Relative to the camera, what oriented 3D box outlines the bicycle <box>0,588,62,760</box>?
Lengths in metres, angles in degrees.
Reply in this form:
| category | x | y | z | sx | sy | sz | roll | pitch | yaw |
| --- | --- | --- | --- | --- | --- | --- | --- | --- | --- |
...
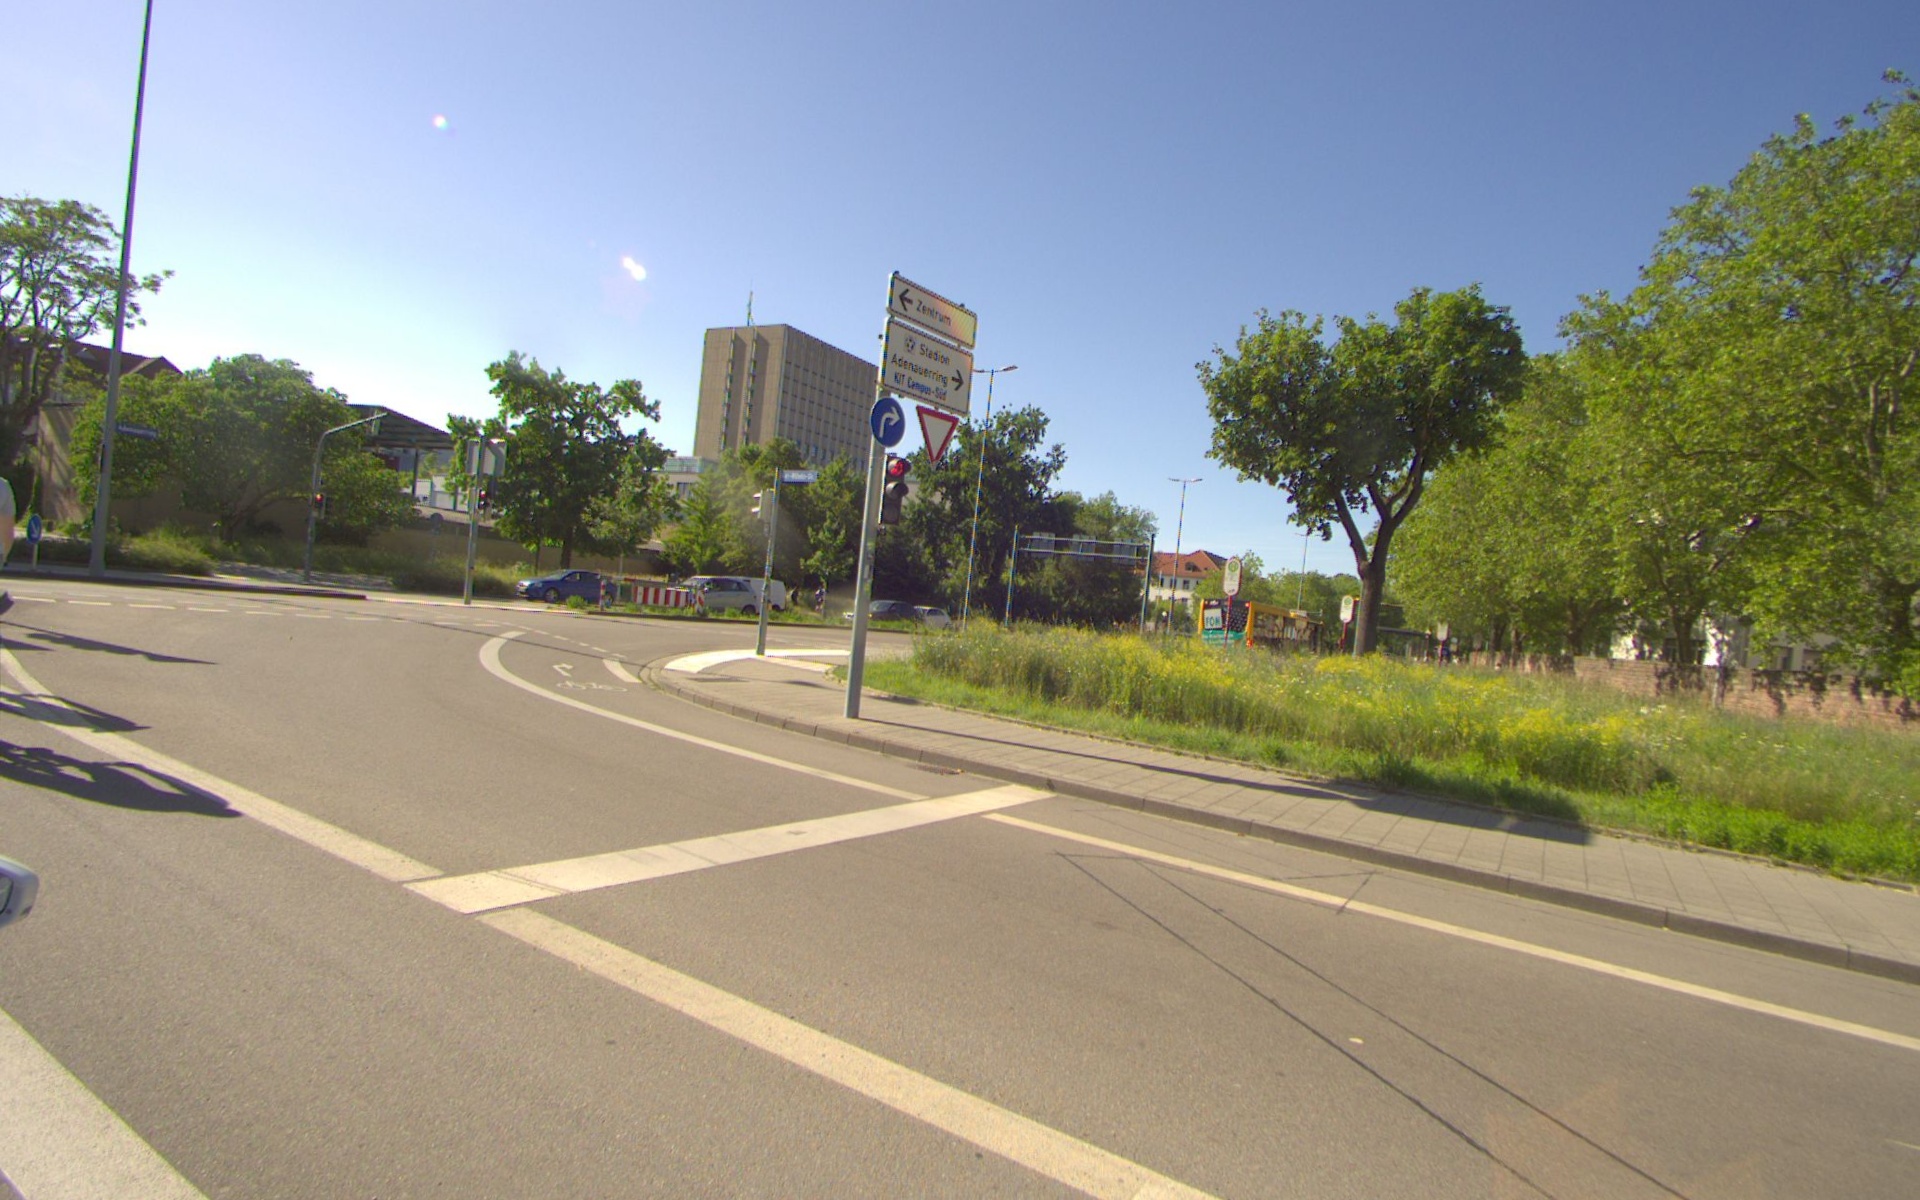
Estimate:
| category | x | y | z | sx | sy | sz | roll | pitch | yaw |
| --- | --- | --- | --- | --- | --- | --- | --- | --- | --- |
| bicycle | -6.301 | 0.355 | 6.089 | 1.946 | 0.906 | 0.741 | 6 | -2 | 33 |

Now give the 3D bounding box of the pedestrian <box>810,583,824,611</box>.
| category | x | y | z | sx | sy | sz | roll | pitch | yaw |
| --- | --- | --- | --- | --- | --- | --- | --- | --- | --- |
| pedestrian | -9.142 | -0.161 | 64.332 | 0.519 | 1.716 | 0.561 | 7 | 1 | 35 |

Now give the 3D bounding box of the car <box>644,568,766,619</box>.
| category | x | y | z | sx | sy | sz | roll | pitch | yaw |
| --- | --- | --- | --- | --- | --- | --- | --- | --- | --- |
| car | -9.436 | -0.213 | 37.428 | 1.840 | 1.426 | 4.046 | 6 | 0 | 38 |

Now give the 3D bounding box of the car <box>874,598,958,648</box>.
| category | x | y | z | sx | sy | sz | roll | pitch | yaw |
| --- | --- | --- | --- | --- | --- | --- | --- | --- | --- |
| car | -2.386 | 1.304 | 56.153 | 1.969 | 2.186 | 4.783 | 6 | -2 | 35 |

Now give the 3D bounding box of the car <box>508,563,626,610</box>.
| category | x | y | z | sx | sy | sz | roll | pitch | yaw |
| --- | --- | --- | --- | --- | --- | --- | --- | --- | --- |
| car | -16.097 | -0.515 | 41.338 | 1.716 | 1.453 | 4.164 | 7 | 0 | 36 |

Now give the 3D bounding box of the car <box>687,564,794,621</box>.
| category | x | y | z | sx | sy | sz | roll | pitch | yaw |
| --- | --- | --- | --- | --- | --- | --- | --- | --- | --- |
| car | -10.712 | -0.335 | 49.443 | 1.969 | 2.131 | 4.882 | 6 | -2 | 36 |

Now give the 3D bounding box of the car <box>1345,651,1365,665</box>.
| category | x | y | z | sx | sy | sz | roll | pitch | yaw |
| --- | --- | --- | --- | --- | --- | --- | --- | --- | --- |
| car | 48.532 | 7.140 | 123.576 | 1.812 | 1.405 | 4.066 | 4 | -2 | 27 |

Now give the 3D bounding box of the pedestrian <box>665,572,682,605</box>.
| category | x | y | z | sx | sy | sz | roll | pitch | yaw |
| --- | --- | --- | --- | --- | --- | --- | --- | --- | --- |
| pedestrian | -15.242 | -0.606 | 53.527 | 0.519 | 1.716 | 0.561 | 7 | 1 | 35 |

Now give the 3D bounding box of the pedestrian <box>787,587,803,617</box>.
| category | x | y | z | sx | sy | sz | roll | pitch | yaw |
| --- | --- | --- | --- | --- | --- | --- | --- | --- | --- |
| pedestrian | -10.240 | 0.142 | 62.432 | 0.519 | 1.801 | 0.561 | 7 | 1 | 35 |

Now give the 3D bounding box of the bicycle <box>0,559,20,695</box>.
| category | x | y | z | sx | sy | sz | roll | pitch | yaw |
| --- | --- | --- | --- | --- | --- | --- | --- | --- | --- |
| bicycle | -8.210 | 0.090 | 7.773 | 1.935 | 1.014 | 0.661 | 6 | -1 | 26 |

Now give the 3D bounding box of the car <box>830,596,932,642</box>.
| category | x | y | z | sx | sy | sz | roll | pitch | yaw |
| --- | --- | --- | --- | --- | --- | --- | --- | --- | --- |
| car | -3.539 | 0.897 | 45.812 | 1.968 | 1.604 | 4.734 | 6 | 0 | 34 |

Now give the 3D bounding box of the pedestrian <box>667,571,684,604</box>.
| category | x | y | z | sx | sy | sz | roll | pitch | yaw |
| --- | --- | --- | --- | --- | --- | --- | --- | --- | --- |
| pedestrian | -15.522 | -0.684 | 54.890 | 0.519 | 1.716 | 0.561 | 7 | 1 | 35 |

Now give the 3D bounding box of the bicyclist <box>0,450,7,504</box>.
| category | x | y | z | sx | sy | sz | roll | pitch | yaw |
| --- | --- | --- | --- | --- | --- | --- | --- | --- | --- |
| bicyclist | -8.144 | -0.371 | 7.778 | 1.048 | 1.759 | 0.647 | 7 | -1 | 26 |

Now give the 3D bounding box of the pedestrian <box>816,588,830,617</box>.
| category | x | y | z | sx | sy | sz | roll | pitch | yaw |
| --- | --- | --- | --- | --- | --- | --- | --- | --- | --- |
| pedestrian | -8.707 | 0.153 | 63.936 | 0.519 | 1.801 | 0.561 | 7 | 1 | 35 |

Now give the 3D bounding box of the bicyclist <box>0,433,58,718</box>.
| category | x | y | z | sx | sy | sz | roll | pitch | yaw |
| --- | --- | --- | --- | --- | --- | --- | --- | --- | --- |
| bicyclist | -6.228 | -0.204 | 6.089 | 1.000 | 1.688 | 0.752 | 6 | -1 | 33 |

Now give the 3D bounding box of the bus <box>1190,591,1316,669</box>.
| category | x | y | z | sx | sy | sz | roll | pitch | yaw |
| --- | --- | --- | --- | --- | --- | --- | --- | --- | --- |
| bus | 14.350 | 1.588 | 48.458 | 2.752 | 2.662 | 10.095 | 6 | -2 | 34 |

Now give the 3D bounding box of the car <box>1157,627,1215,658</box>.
| category | x | y | z | sx | sy | sz | roll | pitch | yaw |
| --- | --- | --- | --- | --- | --- | --- | --- | --- | --- |
| car | 12.746 | 2.415 | 56.563 | 1.815 | 1.404 | 4.062 | 3 | -3 | 33 |
